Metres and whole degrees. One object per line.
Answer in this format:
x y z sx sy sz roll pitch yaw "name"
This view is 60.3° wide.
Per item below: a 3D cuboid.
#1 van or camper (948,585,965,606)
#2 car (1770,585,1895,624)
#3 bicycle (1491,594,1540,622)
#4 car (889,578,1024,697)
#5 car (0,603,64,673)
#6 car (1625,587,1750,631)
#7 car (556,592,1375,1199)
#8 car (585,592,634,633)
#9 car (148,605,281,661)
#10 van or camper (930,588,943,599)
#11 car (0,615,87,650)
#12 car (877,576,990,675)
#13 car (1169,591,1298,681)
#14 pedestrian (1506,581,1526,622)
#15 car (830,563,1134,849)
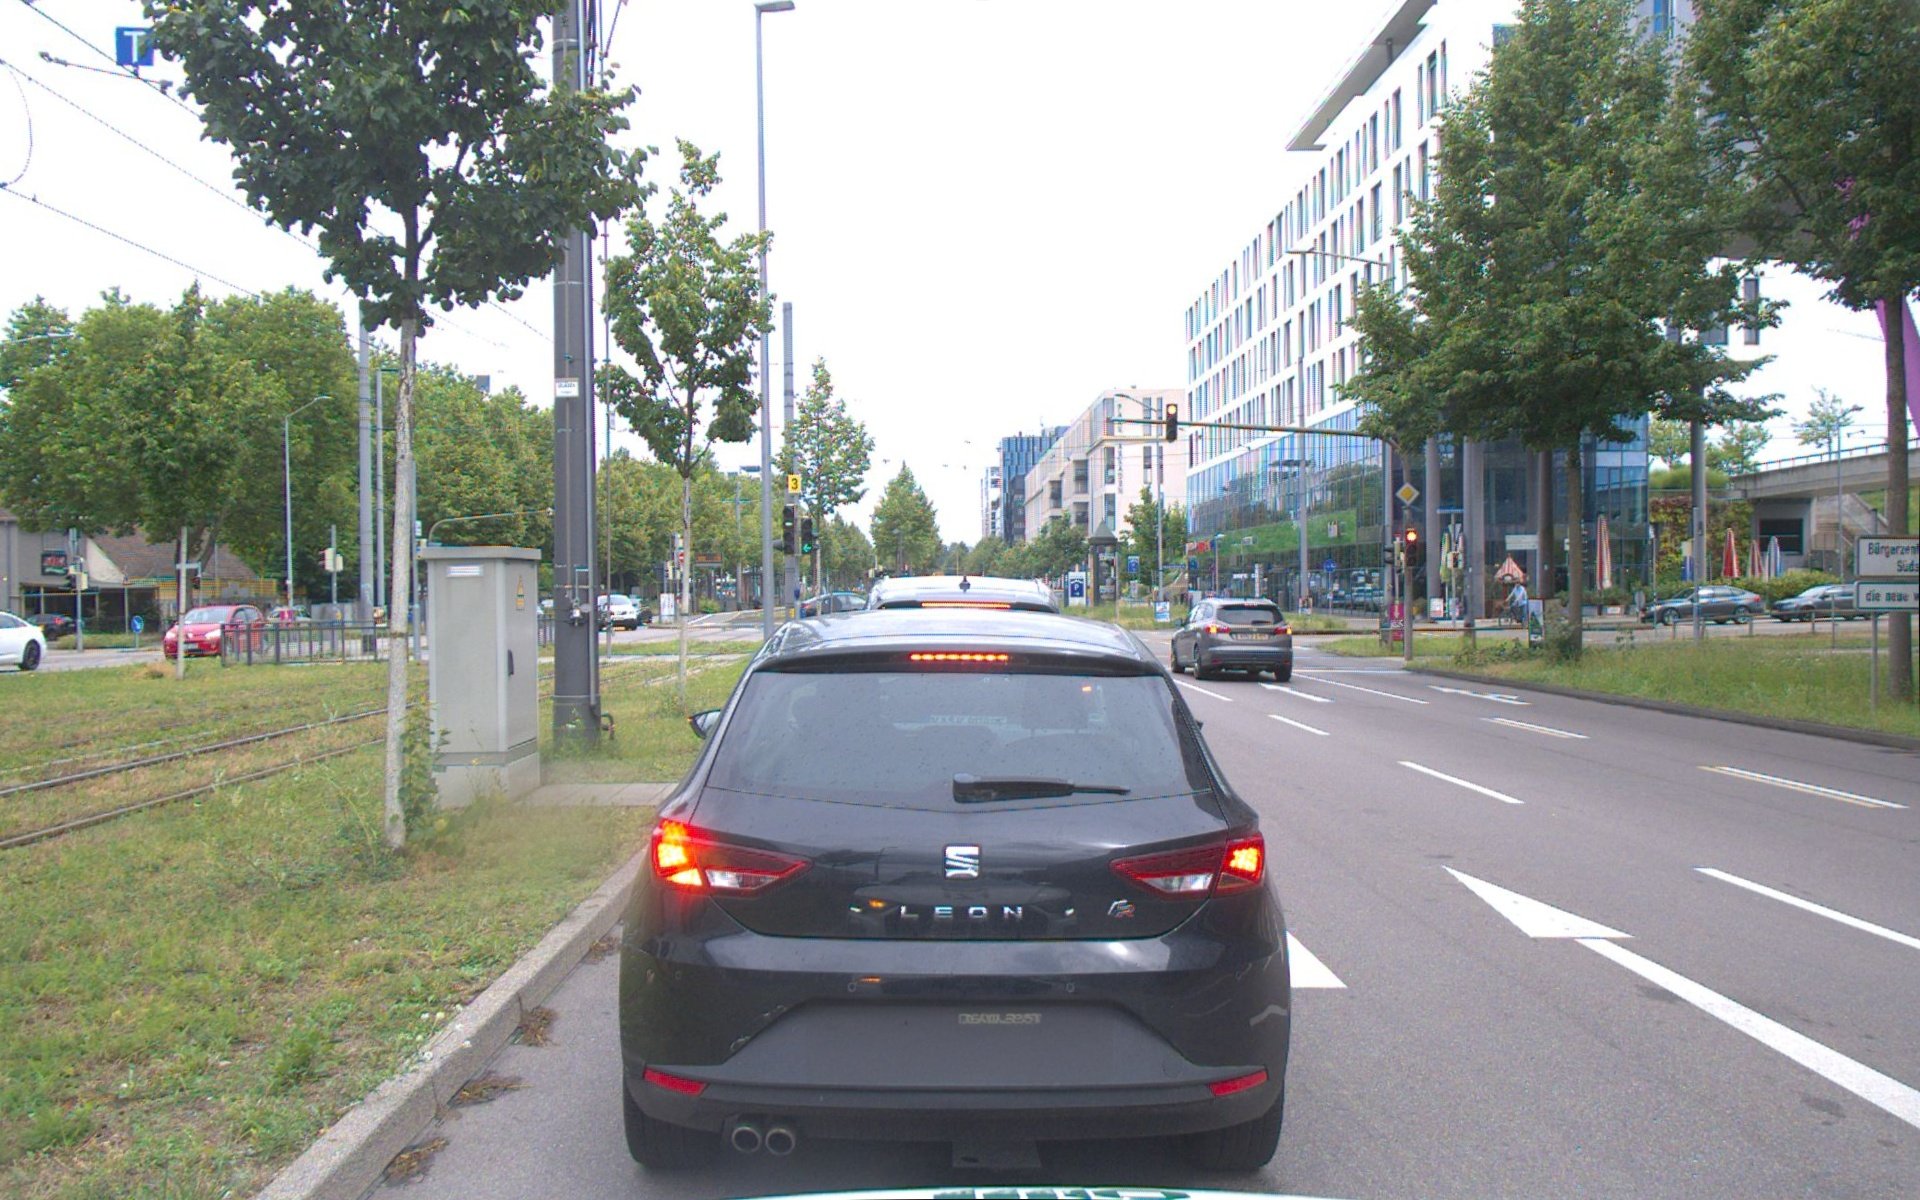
-0.413 -0.591 199.433 2.066 2.397 4.923 0 2 0 "van or camper"
34.419 0.172 65.307 3.996 1.480 1.758 -1 0 1 "car"
22.362 0.321 66.640 1.755 1.104 0.618 -1 0 1 "bicycle"
0.026 0.520 26.088 1.952 1.711 4.001 1 1 2 "car"
-23.414 0.923 39.108 1.775 1.616 5.076 -1 0 -2 "car"
28.512 0.328 64.897 4.163 1.643 1.758 -1 0 1 "car"
-0.038 0.711 5.475 1.708 1.442 3.999 1 0 -2 "car"
-15.925 0.553 74.983 1.961 1.780 4.183 -1 0 -15 "car"
-20.330 0.860 45.273 1.775 1.401 4.268 -1 0 -2 "car"
-3.493 -0.999 247.315 1.953 1.643 4.789 0 2 0 "van or camper"
-50.479 1.764 90.637 4.190 1.847 2.108 -1 0 3 "car"
-0.433 0.430 31.142 1.952 1.711 4.001 1 1 1 "car"
5.146 0.627 31.596 1.712 1.525 4.268 0 1 -1 "car"
22.401 0.054 66.638 0.602 1.632 0.619 -1 0 1 "pedestrian"
0.100 0.606 11.704 1.766 1.653 3.999 -1 0 -1 "car"
